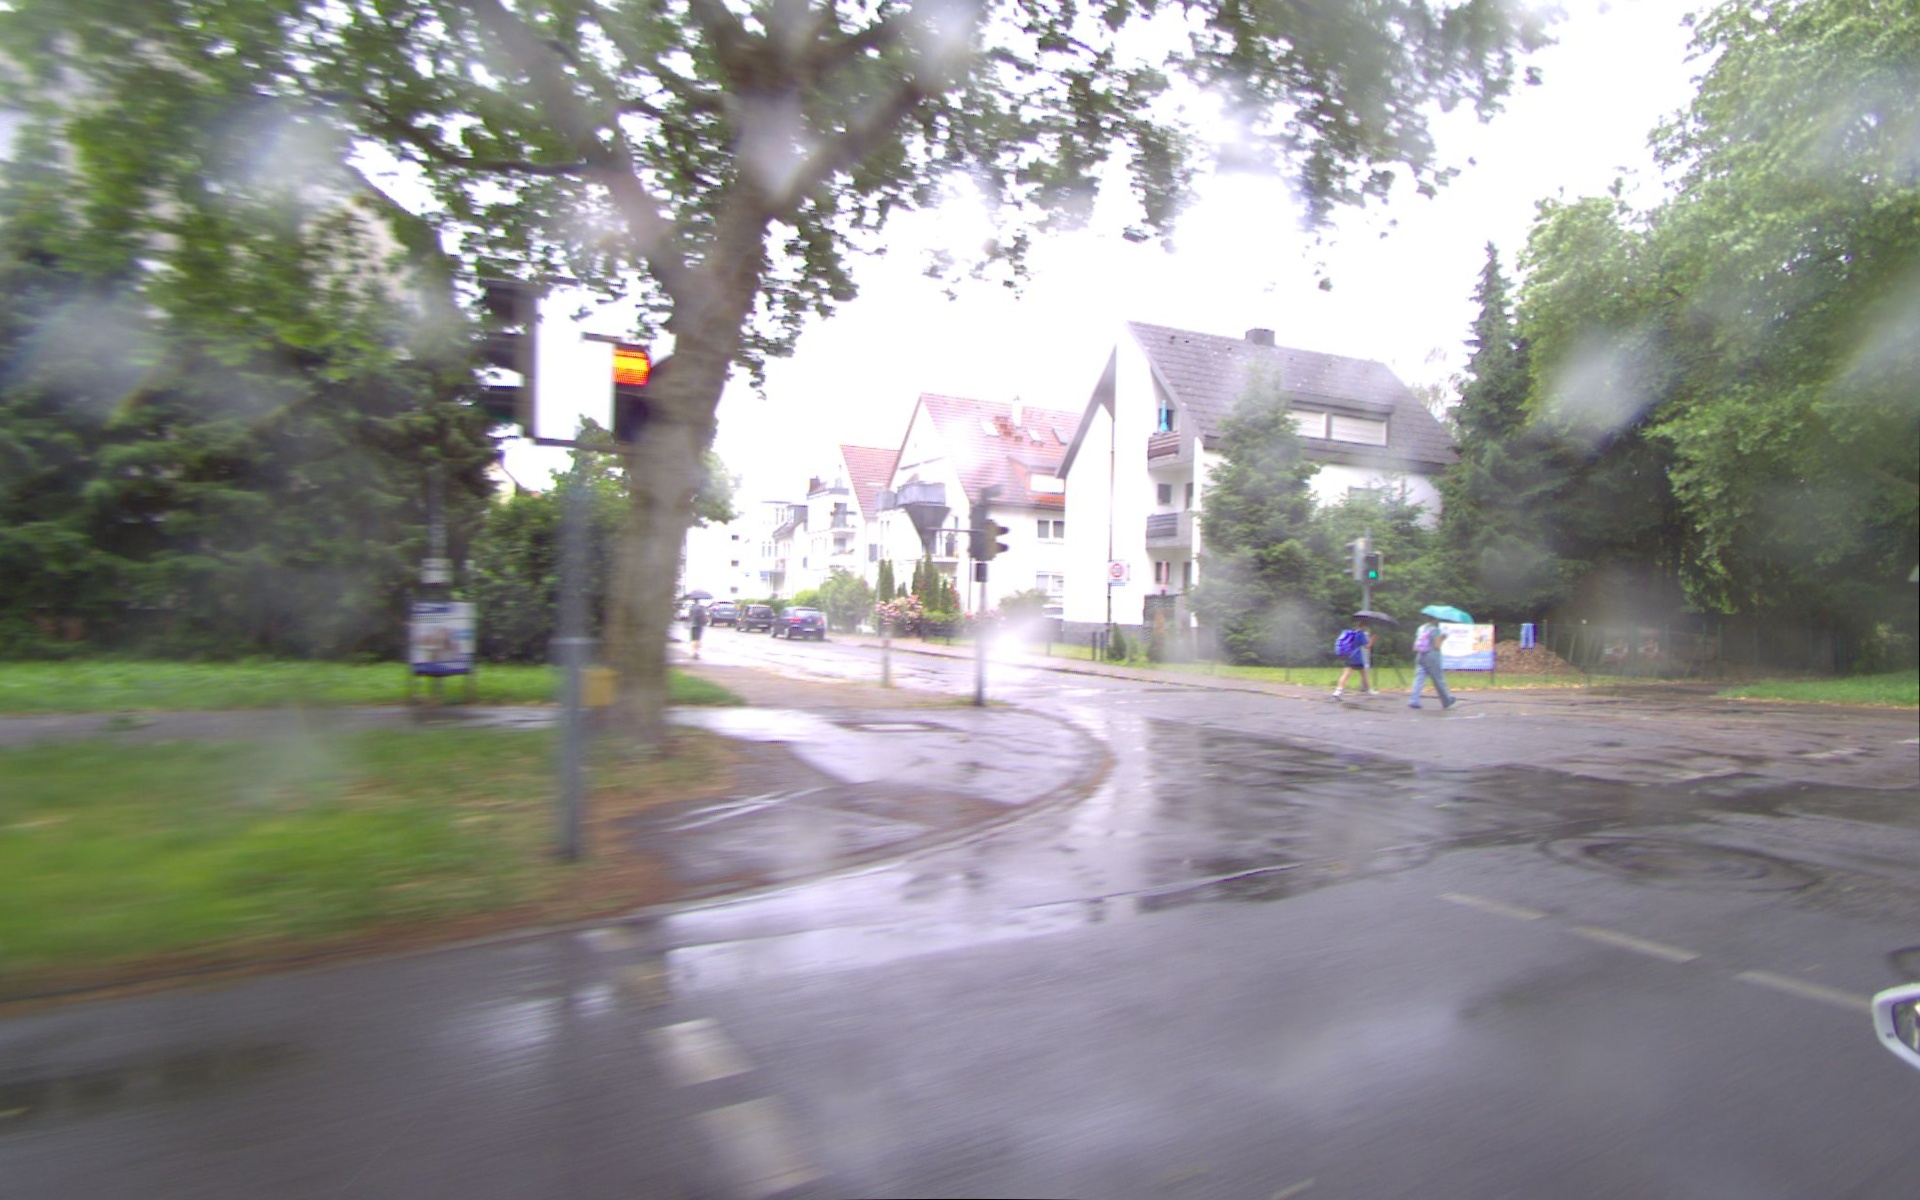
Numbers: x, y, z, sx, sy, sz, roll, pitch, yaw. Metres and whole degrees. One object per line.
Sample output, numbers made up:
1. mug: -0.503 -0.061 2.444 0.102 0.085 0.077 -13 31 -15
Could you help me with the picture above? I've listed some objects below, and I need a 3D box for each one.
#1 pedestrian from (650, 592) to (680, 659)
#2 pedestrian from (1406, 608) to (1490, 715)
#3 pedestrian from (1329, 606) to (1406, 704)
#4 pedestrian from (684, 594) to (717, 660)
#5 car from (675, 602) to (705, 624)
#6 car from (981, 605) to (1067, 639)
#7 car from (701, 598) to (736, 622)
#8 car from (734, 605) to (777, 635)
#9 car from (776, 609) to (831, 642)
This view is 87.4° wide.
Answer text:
1. pedestrian: -7.853 0.680 26.732 0.632 1.768 0.589 1 0 -30
2. pedestrian: 8.468 1.044 17.456 0.827 1.789 1.029 1 -1 -28
3. pedestrian: 7.681 1.020 18.950 0.868 1.789 1.029 1 -1 -28
4. pedestrian: -7.012 0.719 27.140 0.632 1.768 0.854 1 0 -30
5. car: -20.822 0.990 77.410 1.605 1.574 3.513 2 -1 -25
6. car: 2.956 1.031 46.192 3.611 1.465 1.610 2 -2 -28
7. car: -15.258 0.623 63.332 1.577 1.391 3.713 2 0 -22
8. car: -11.129 1.066 54.535 1.515 1.536 3.431 1 0 -24
9. car: -7.182 1.148 45.904 1.669 1.391 3.700 2 0 -22
